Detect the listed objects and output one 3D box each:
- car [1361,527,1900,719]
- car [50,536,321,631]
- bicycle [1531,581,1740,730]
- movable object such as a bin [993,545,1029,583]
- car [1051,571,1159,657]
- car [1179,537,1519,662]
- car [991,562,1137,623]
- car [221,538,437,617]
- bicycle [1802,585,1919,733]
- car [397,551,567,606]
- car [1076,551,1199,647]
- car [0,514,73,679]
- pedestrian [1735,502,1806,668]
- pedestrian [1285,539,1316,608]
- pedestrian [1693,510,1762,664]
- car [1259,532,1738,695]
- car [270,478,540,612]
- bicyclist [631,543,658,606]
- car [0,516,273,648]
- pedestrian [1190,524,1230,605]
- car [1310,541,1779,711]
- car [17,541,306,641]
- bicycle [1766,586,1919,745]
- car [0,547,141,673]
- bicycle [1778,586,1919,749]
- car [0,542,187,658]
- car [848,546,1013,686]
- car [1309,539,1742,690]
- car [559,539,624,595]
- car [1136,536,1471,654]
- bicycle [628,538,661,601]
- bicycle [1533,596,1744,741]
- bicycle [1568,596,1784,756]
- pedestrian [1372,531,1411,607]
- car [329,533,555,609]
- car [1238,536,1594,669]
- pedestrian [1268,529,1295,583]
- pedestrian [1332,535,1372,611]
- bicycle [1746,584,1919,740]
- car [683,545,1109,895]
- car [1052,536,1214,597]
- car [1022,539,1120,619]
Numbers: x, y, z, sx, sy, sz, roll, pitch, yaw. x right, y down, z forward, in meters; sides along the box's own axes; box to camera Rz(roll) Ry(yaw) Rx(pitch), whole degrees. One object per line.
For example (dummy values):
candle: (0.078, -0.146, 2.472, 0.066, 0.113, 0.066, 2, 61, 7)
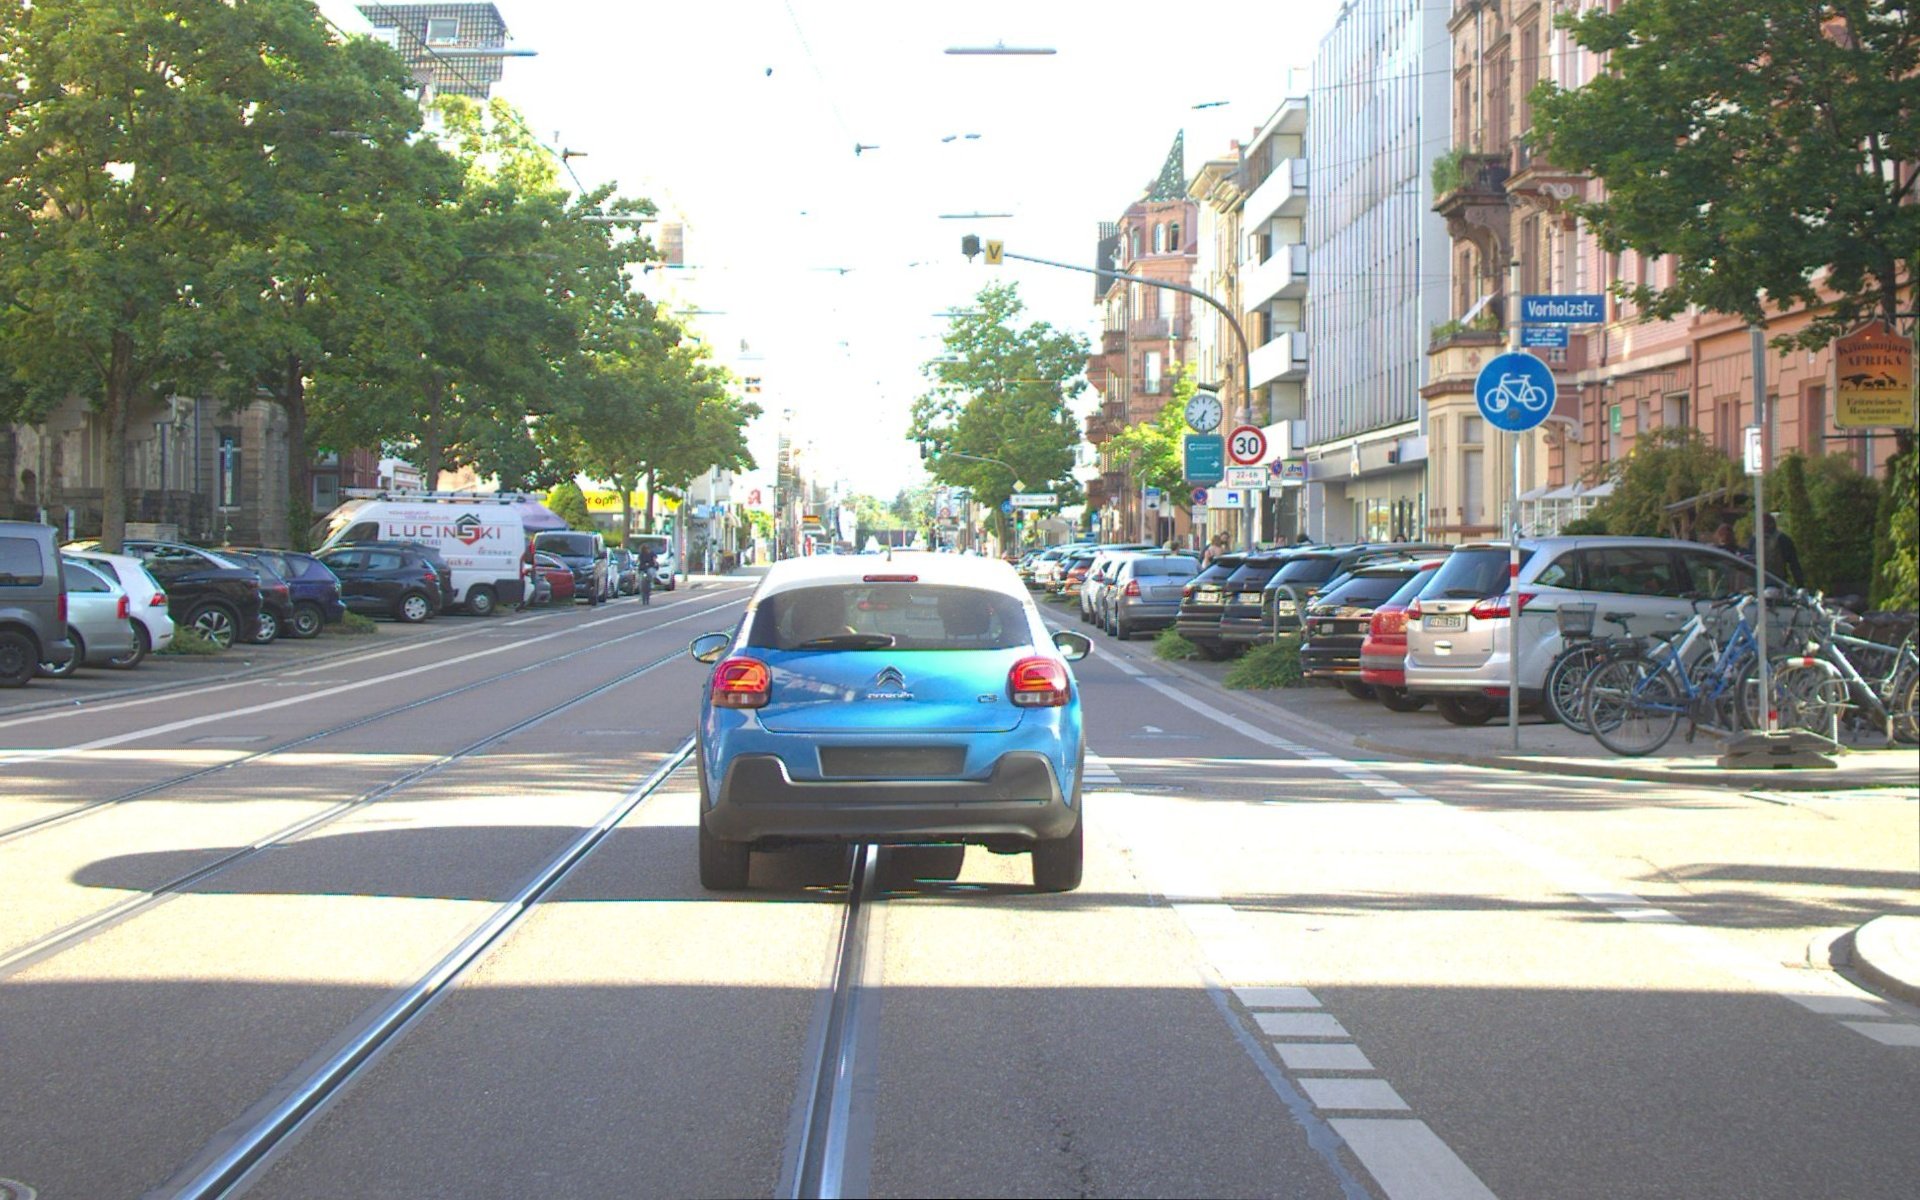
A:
car: (5.888, 0.201, 30.157, 4.350, 1.590, 1.854, 1, 1, -25)
car: (-12.678, -0.266, 56.300, 3.986, 1.484, 1.806, 1, 1, -28)
bicycle: (5.272, 0.431, 26.861, 1.560, 1.123, 0.294, 1, 0, 6)
movable object such as a bin: (2.073, -1.460, 139.225, 1.394, 1.478, 1.655, 1, 0, -1)
car: (2.784, 0.244, 66.867, 1.873, 1.590, 4.000, 1, 1, 0)
car: (5.201, -0.006, 45.977, 3.986, 1.590, 2.088, 1, 1, -25)
car: (2.787, -0.193, 91.784, 3.441, 1.550, 1.824, 1, 1, -32)
car: (-12.467, -0.440, 67.860, 3.986, 1.484, 1.807, 1, 1, -17)
bicycle: (7.401, 0.458, 26.789, 1.556, 1.123, 0.551, 1, 0, 6)
car: (-11.637, -0.519, 83.643, 3.796, 1.261, 1.516, 1, 1, -26)
car: (3.092, -0.038, 60.762, 1.873, 1.590, 4.719, 1, 1, 0)
car: (-11.722, -0.064, 37.133, 3.810, 1.778, 1.797, 1, 1, -29)
pedestrian: (8.802, -0.167, 37.353, 0.518, 1.772, 0.863, 1, 0, 0)
pedestrian: (8.697, -0.687, 87.896, 0.692, 1.750, 0.678, 1, 0, -1)
pedestrian: (8.325, -0.139, 37.331, 0.518, 1.643, 0.863, 1, 0, 0)
car: (5.547, 0.143, 35.415, 4.433, 1.590, 2.089, 1, 1, -25)
car: (-11.846, -1.155, 73.501, 5.370, 2.739, 1.806, 1, 1, -30)
bicyclist: (-8.460, -0.694, 92.313, 0.634, 1.676, 0.727, 1, 0, 0)
car: (-12.067, -0.245, 48.157, 4.352, 1.777, 1.996, 1, 1, -33)
pedestrian: (5.025, -0.712, 69.026, 0.712, 1.601, 0.654, 1, 0, -1)
car: (5.558, 0.240, 32.693, 3.986, 1.531, 1.919, 1, 1, -25)
car: (-12.406, -0.135, 53.465, 3.987, 1.484, 1.806, 1, 1, -33)
bicycle: (6.697, 0.473, 24.997, 1.556, 1.123, 0.528, 1, 0, 6)
car: (-11.757, 0.101, 39.956, 4.006, 1.444, 1.699, 1, 1, -33)
bicycle: (6.651, 0.478, 24.410, 1.556, 1.123, 0.551, 1, 0, 6)
car: (-11.886, -0.012, 43.403, 3.831, 1.425, 1.766, 1, 1, -26)
car: (-0.354, 0.165, 41.727, 1.873, 1.590, 4.000, 1, 1, 0)
car: (6.280, 0.164, 38.195, 4.317, 1.590, 2.046, 1, 1, -25)
car: (-11.036, -0.998, 103.219, 1.747, 1.612, 4.411, 1, 1, -4)
car: (4.879, -0.072, 48.830, 4.302, 1.590, 1.983, 1, 1, -25)
bicycle: (-8.458, -0.821, 92.328, 0.680, 1.673, 2.097, 1, 0, -1)
bicycle: (5.232, 0.523, 26.537, 1.556, 1.075, 0.307, 1, 0, 6)
bicycle: (5.141, 0.544, 24.712, 1.397, 1.123, 0.551, 1, 0, -14)
pedestrian: (9.253, -0.660, 73.768, 0.712, 1.601, 0.654, 1, 0, -1)
car: (-11.683, -0.650, 77.671, 4.755, 1.612, 1.712, 1, 1, -33)
car: (5.731, 0.031, 43.236, 3.986, 1.590, 1.960, 1, 1, -25)
pedestrian: (9.482, -1.294, 101.364, 0.692, 1.582, 0.678, 1, 0, -1)
pedestrian: (8.401, -0.584, 73.638, 0.712, 1.601, 0.654, -2, 0, -1)
bicycle: (6.749, 0.460, 25.583, 1.675, 1.123, 0.551, 1, 0, 6)
car: (-0.297, 0.487, 16.203, 1.762, 1.436, 3.557, 1, 1, -1)
car: (4.503, -0.863, 89.316, 3.718, 1.515, 1.968, 1, 1, -33)
car: (2.295, -0.445, 72.164, 1.873, 1.590, 4.000, 1, 1, 0)
